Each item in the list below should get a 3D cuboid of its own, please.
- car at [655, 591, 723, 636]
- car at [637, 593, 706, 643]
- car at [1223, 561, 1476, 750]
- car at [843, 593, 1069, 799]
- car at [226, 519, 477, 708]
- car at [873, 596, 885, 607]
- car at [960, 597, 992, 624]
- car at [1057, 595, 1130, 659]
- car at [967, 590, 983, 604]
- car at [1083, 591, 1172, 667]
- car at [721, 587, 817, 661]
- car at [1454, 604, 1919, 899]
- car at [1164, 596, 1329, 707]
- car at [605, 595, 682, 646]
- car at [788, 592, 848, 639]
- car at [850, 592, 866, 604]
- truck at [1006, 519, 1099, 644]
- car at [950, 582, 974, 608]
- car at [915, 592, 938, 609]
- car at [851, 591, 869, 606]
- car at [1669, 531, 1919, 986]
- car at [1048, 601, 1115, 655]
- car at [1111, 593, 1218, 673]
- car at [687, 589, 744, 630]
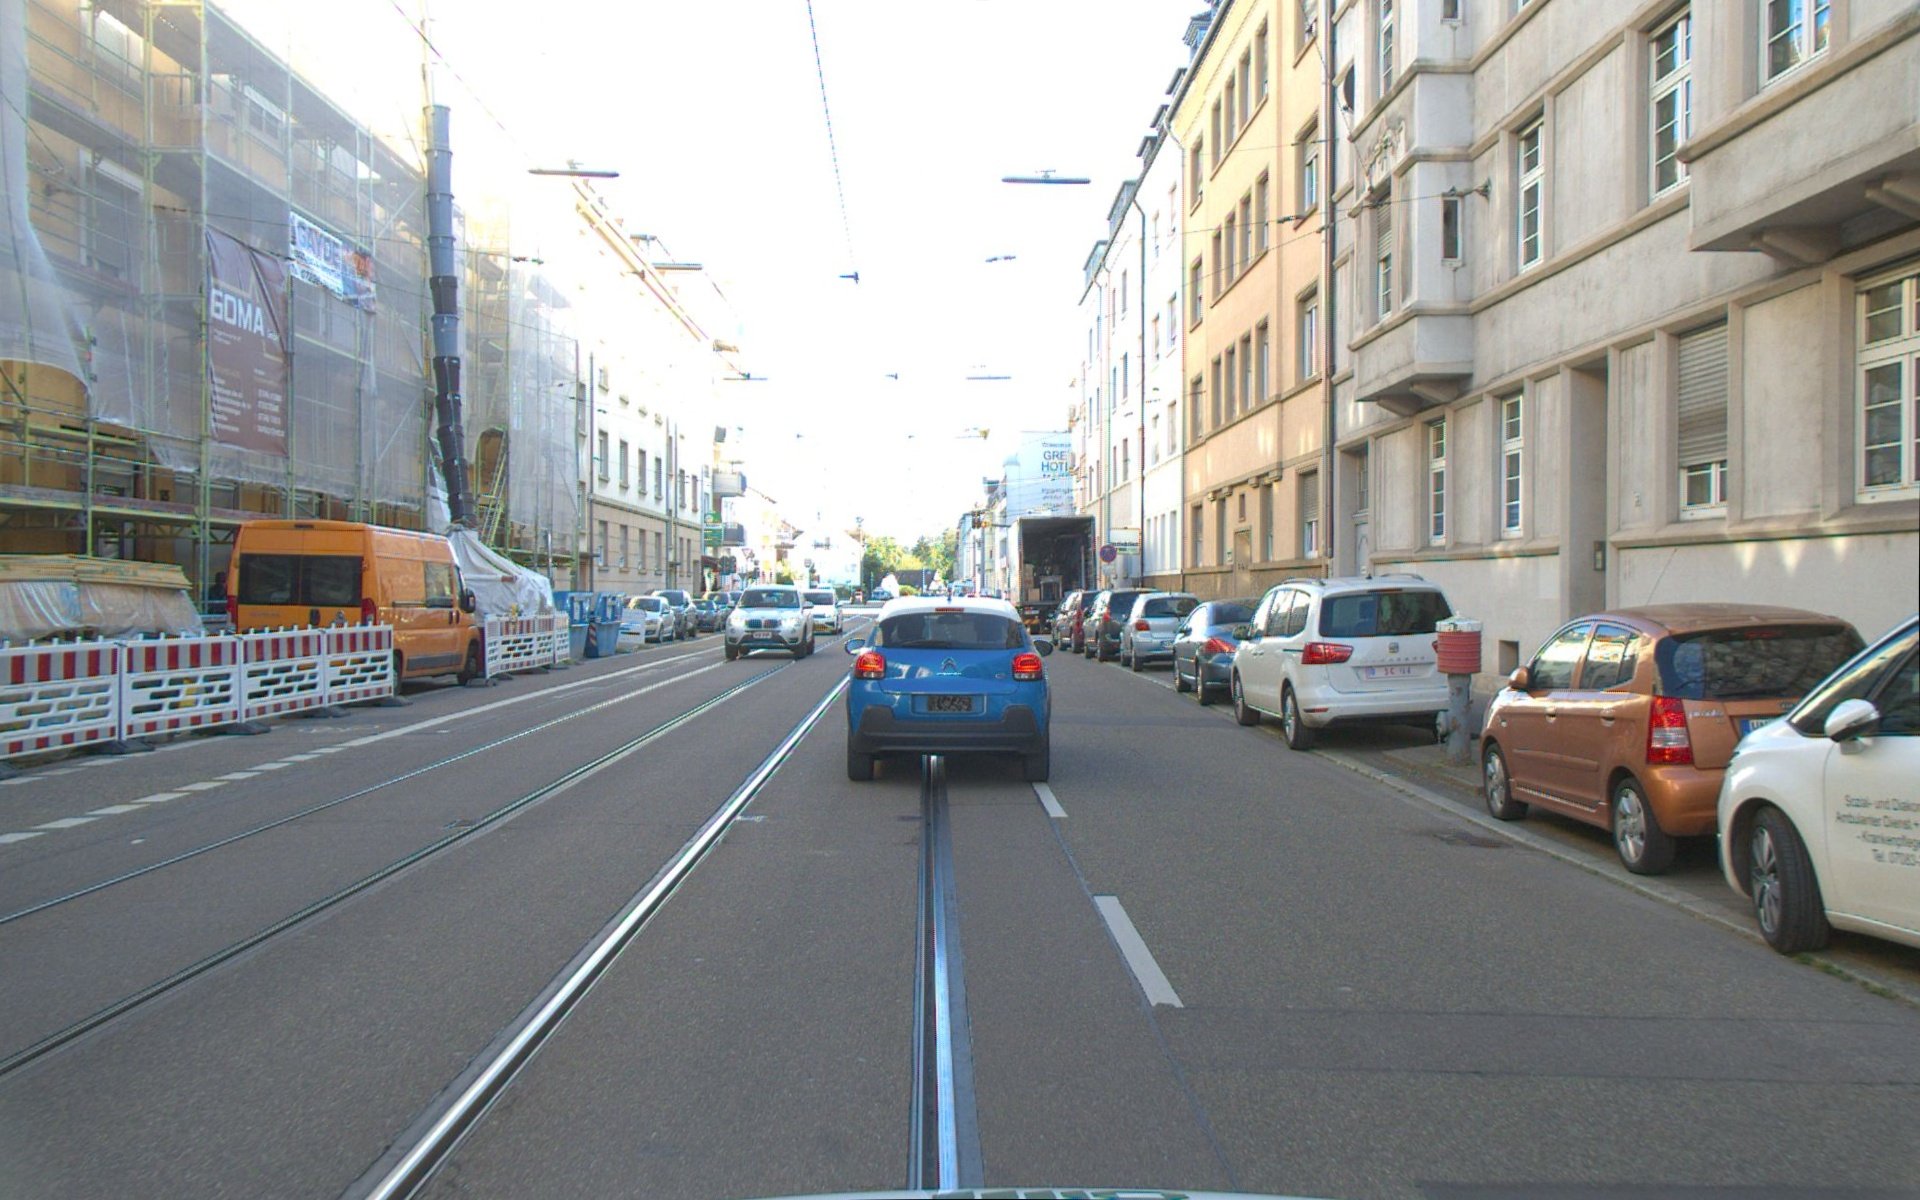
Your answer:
[{"bbox_3d":[-10.592,0.503,64.925,2.101,1.650,3.999,-1,0,-2],"label":"car"},{"bbox_3d":[-9.849,0.590,56.715,1.679,1.622,4.266,0,0,-1],"label":"car"},{"bbox_3d":[4.210,0.542,18.630,1.695,1.859,4.685,0,0,-1],"label":"car"},{"bbox_3d":[-0.057,0.739,14.857,1.700,1.533,3.992,2,0,-1],"label":"car"},{"bbox_3d":[-8.828,0.166,24.523,2.102,2.519,4.977,0,0,-3],"label":"car"},{"bbox_3d":[-12.246,0.220,250.554,1.729,1.513,4.031,0,0,-1],"label":"car"},{"bbox_3d":[0.872,0.574,93.613,1.729,1.513,4.031,0,0,-1],"label":"car"},{"bbox_3d":[3.573,0.705,44.809,1.630,1.661,3.870,0,0,-1],"label":"car"},{"bbox_3d":[1.624,-0.348,181.666,1.729,1.513,4.031,0,0,-1],"label":"car"},{"bbox_3d":[3.874,0.639,38.795,1.630,1.676,4.221,0,0,-1],"label":"car"},{"bbox_3d":[-4.453,0.526,39.061,1.789,1.660,4.489,0,0,-1],"label":"car"},{"bbox_3d":[4.575,0.831,10.823,1.582,1.588,3.599,0,0,-1],"label":"car"},{"bbox_3d":[4.170,0.704,24.681,1.687,1.513,4.221,0,0,-1],"label":"car"},{"bbox_3d":[-9.903,0.617,52.016,1.679,1.544,4.047,0,0,-1],"label":"car"},{"bbox_3d":[-5.156,0.532,60.338,1.863,1.660,4.266,0,0,-1],"label":"car"},{"bbox_3d":[-12.533,-0.259,202.671,1.729,1.513,4.031,0,0,-1],"label":"car"},{"bbox_3d":[3.222,-0.626,60.505,2.794,4.154,11.270,0,0,0],"label":"truck"},{"bbox_3d":[0.204,-0.444,152.846,2.174,2.324,4.083,0,0,-1],"label":"car"},{"bbox_3d":[-3.149,0.043,155.018,2.136,1.513,4.159,1,0,-1],"label":"car"},{"bbox_3d":[-10.606,-0.176,176.075,1.729,1.513,4.031,0,0,-1],"label":"car"},{"bbox_3d":[4.610,0.623,6.185,1.622,1.782,4.598,0,0,-5],"label":"car"},{"bbox_3d":[3.581,0.797,49.288,1.630,1.513,4.031,0,0,-1],"label":"car"},{"bbox_3d":[4.125,0.633,33.956,1.630,1.546,4.221,0,0,-1],"label":"car"},{"bbox_3d":[-10.406,0.388,70.703,1.789,1.660,4.848,0,0,-1],"label":"car"}]
